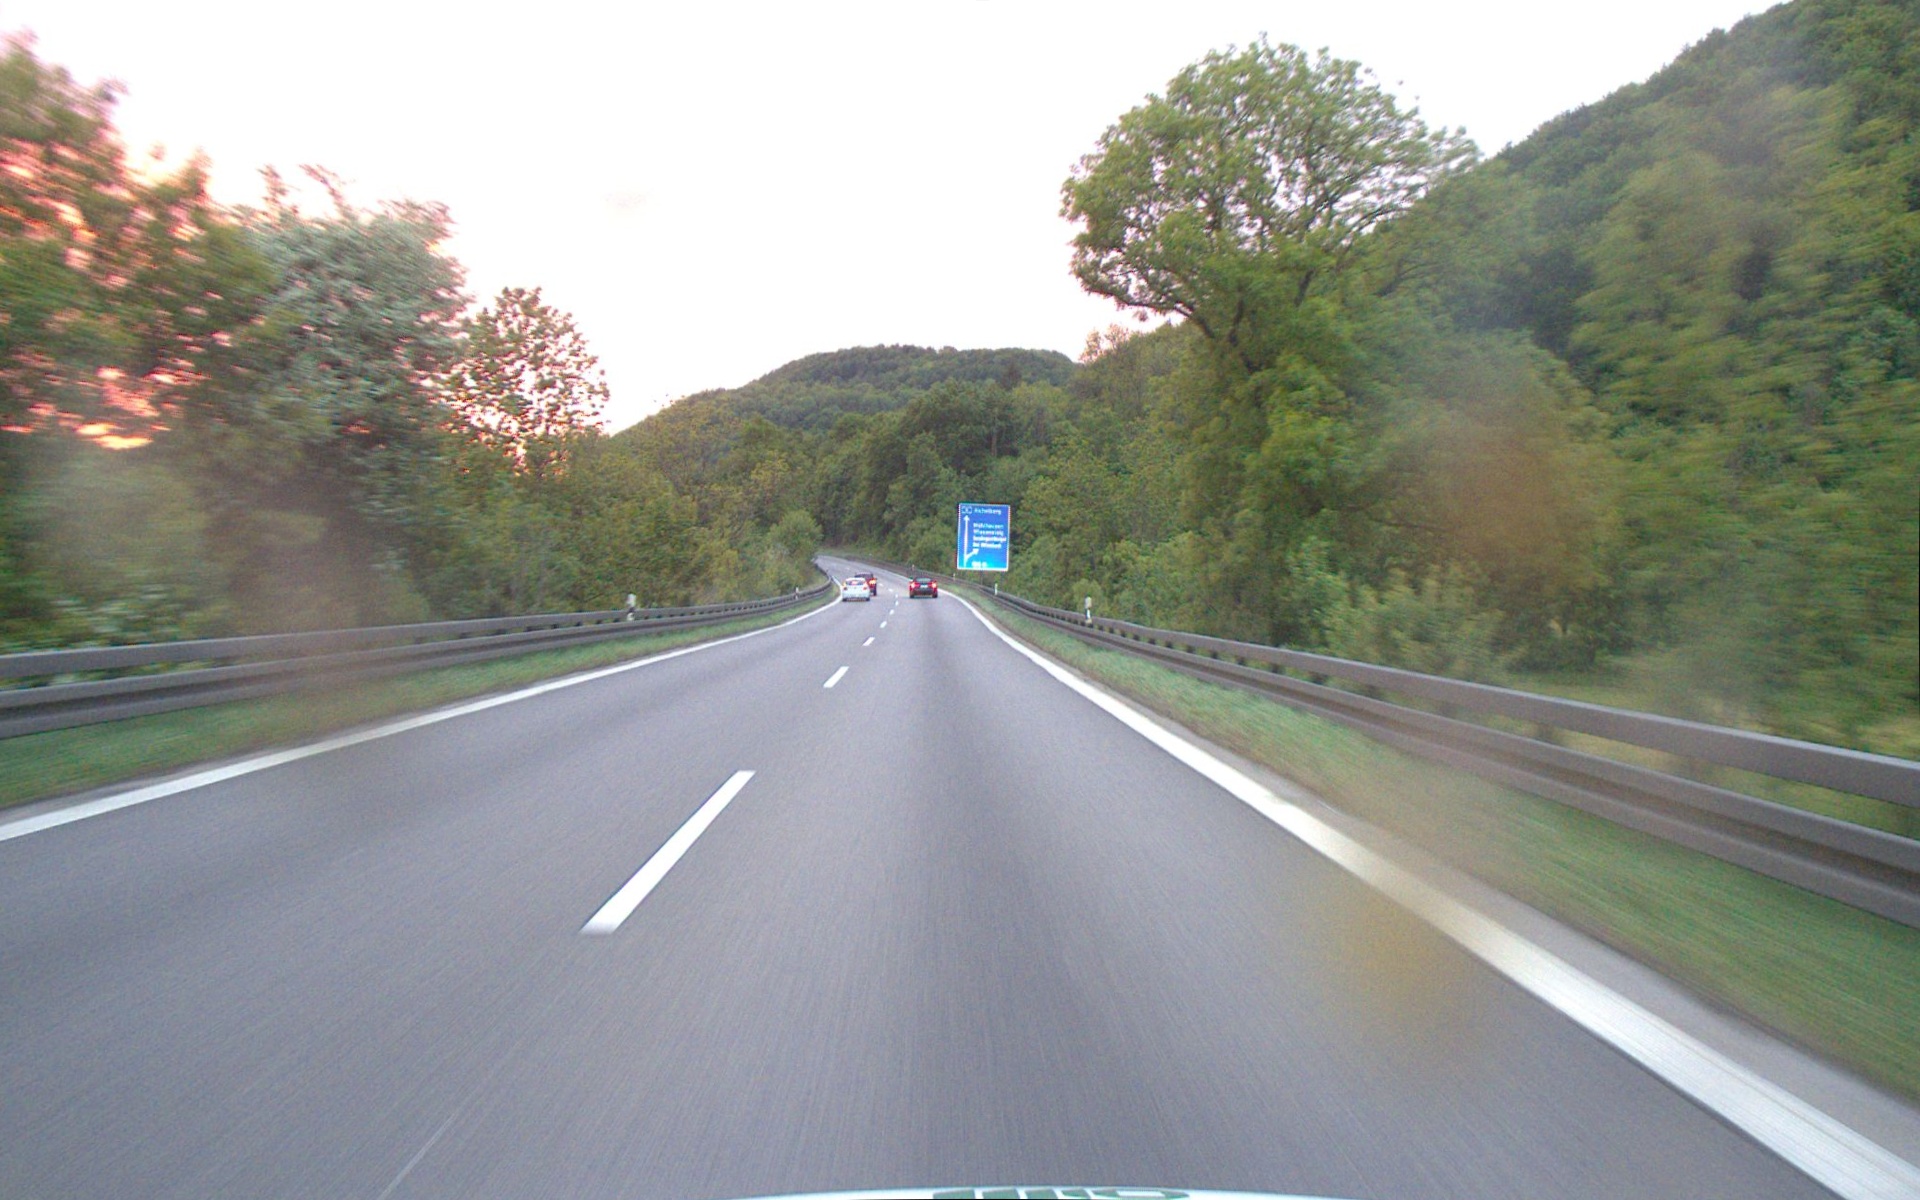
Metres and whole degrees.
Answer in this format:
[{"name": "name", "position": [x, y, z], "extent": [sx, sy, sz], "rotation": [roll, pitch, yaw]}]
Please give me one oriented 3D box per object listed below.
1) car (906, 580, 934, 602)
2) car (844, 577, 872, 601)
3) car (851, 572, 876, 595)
[{"name": "car", "position": [-2.732, -0.613, 111.854], "extent": [1.840, 1.492, 3.999], "rotation": [0, 1, -2]}, {"name": "car", "position": [-6.594, -0.727, 107.045], "extent": [1.683, 1.527, 3.999], "rotation": [0, 1, -2]}, {"name": "car", "position": [-6.948, -1.225, 119.918], "extent": [1.683, 1.663, 3.999], "rotation": [0, 1, -2]}]
